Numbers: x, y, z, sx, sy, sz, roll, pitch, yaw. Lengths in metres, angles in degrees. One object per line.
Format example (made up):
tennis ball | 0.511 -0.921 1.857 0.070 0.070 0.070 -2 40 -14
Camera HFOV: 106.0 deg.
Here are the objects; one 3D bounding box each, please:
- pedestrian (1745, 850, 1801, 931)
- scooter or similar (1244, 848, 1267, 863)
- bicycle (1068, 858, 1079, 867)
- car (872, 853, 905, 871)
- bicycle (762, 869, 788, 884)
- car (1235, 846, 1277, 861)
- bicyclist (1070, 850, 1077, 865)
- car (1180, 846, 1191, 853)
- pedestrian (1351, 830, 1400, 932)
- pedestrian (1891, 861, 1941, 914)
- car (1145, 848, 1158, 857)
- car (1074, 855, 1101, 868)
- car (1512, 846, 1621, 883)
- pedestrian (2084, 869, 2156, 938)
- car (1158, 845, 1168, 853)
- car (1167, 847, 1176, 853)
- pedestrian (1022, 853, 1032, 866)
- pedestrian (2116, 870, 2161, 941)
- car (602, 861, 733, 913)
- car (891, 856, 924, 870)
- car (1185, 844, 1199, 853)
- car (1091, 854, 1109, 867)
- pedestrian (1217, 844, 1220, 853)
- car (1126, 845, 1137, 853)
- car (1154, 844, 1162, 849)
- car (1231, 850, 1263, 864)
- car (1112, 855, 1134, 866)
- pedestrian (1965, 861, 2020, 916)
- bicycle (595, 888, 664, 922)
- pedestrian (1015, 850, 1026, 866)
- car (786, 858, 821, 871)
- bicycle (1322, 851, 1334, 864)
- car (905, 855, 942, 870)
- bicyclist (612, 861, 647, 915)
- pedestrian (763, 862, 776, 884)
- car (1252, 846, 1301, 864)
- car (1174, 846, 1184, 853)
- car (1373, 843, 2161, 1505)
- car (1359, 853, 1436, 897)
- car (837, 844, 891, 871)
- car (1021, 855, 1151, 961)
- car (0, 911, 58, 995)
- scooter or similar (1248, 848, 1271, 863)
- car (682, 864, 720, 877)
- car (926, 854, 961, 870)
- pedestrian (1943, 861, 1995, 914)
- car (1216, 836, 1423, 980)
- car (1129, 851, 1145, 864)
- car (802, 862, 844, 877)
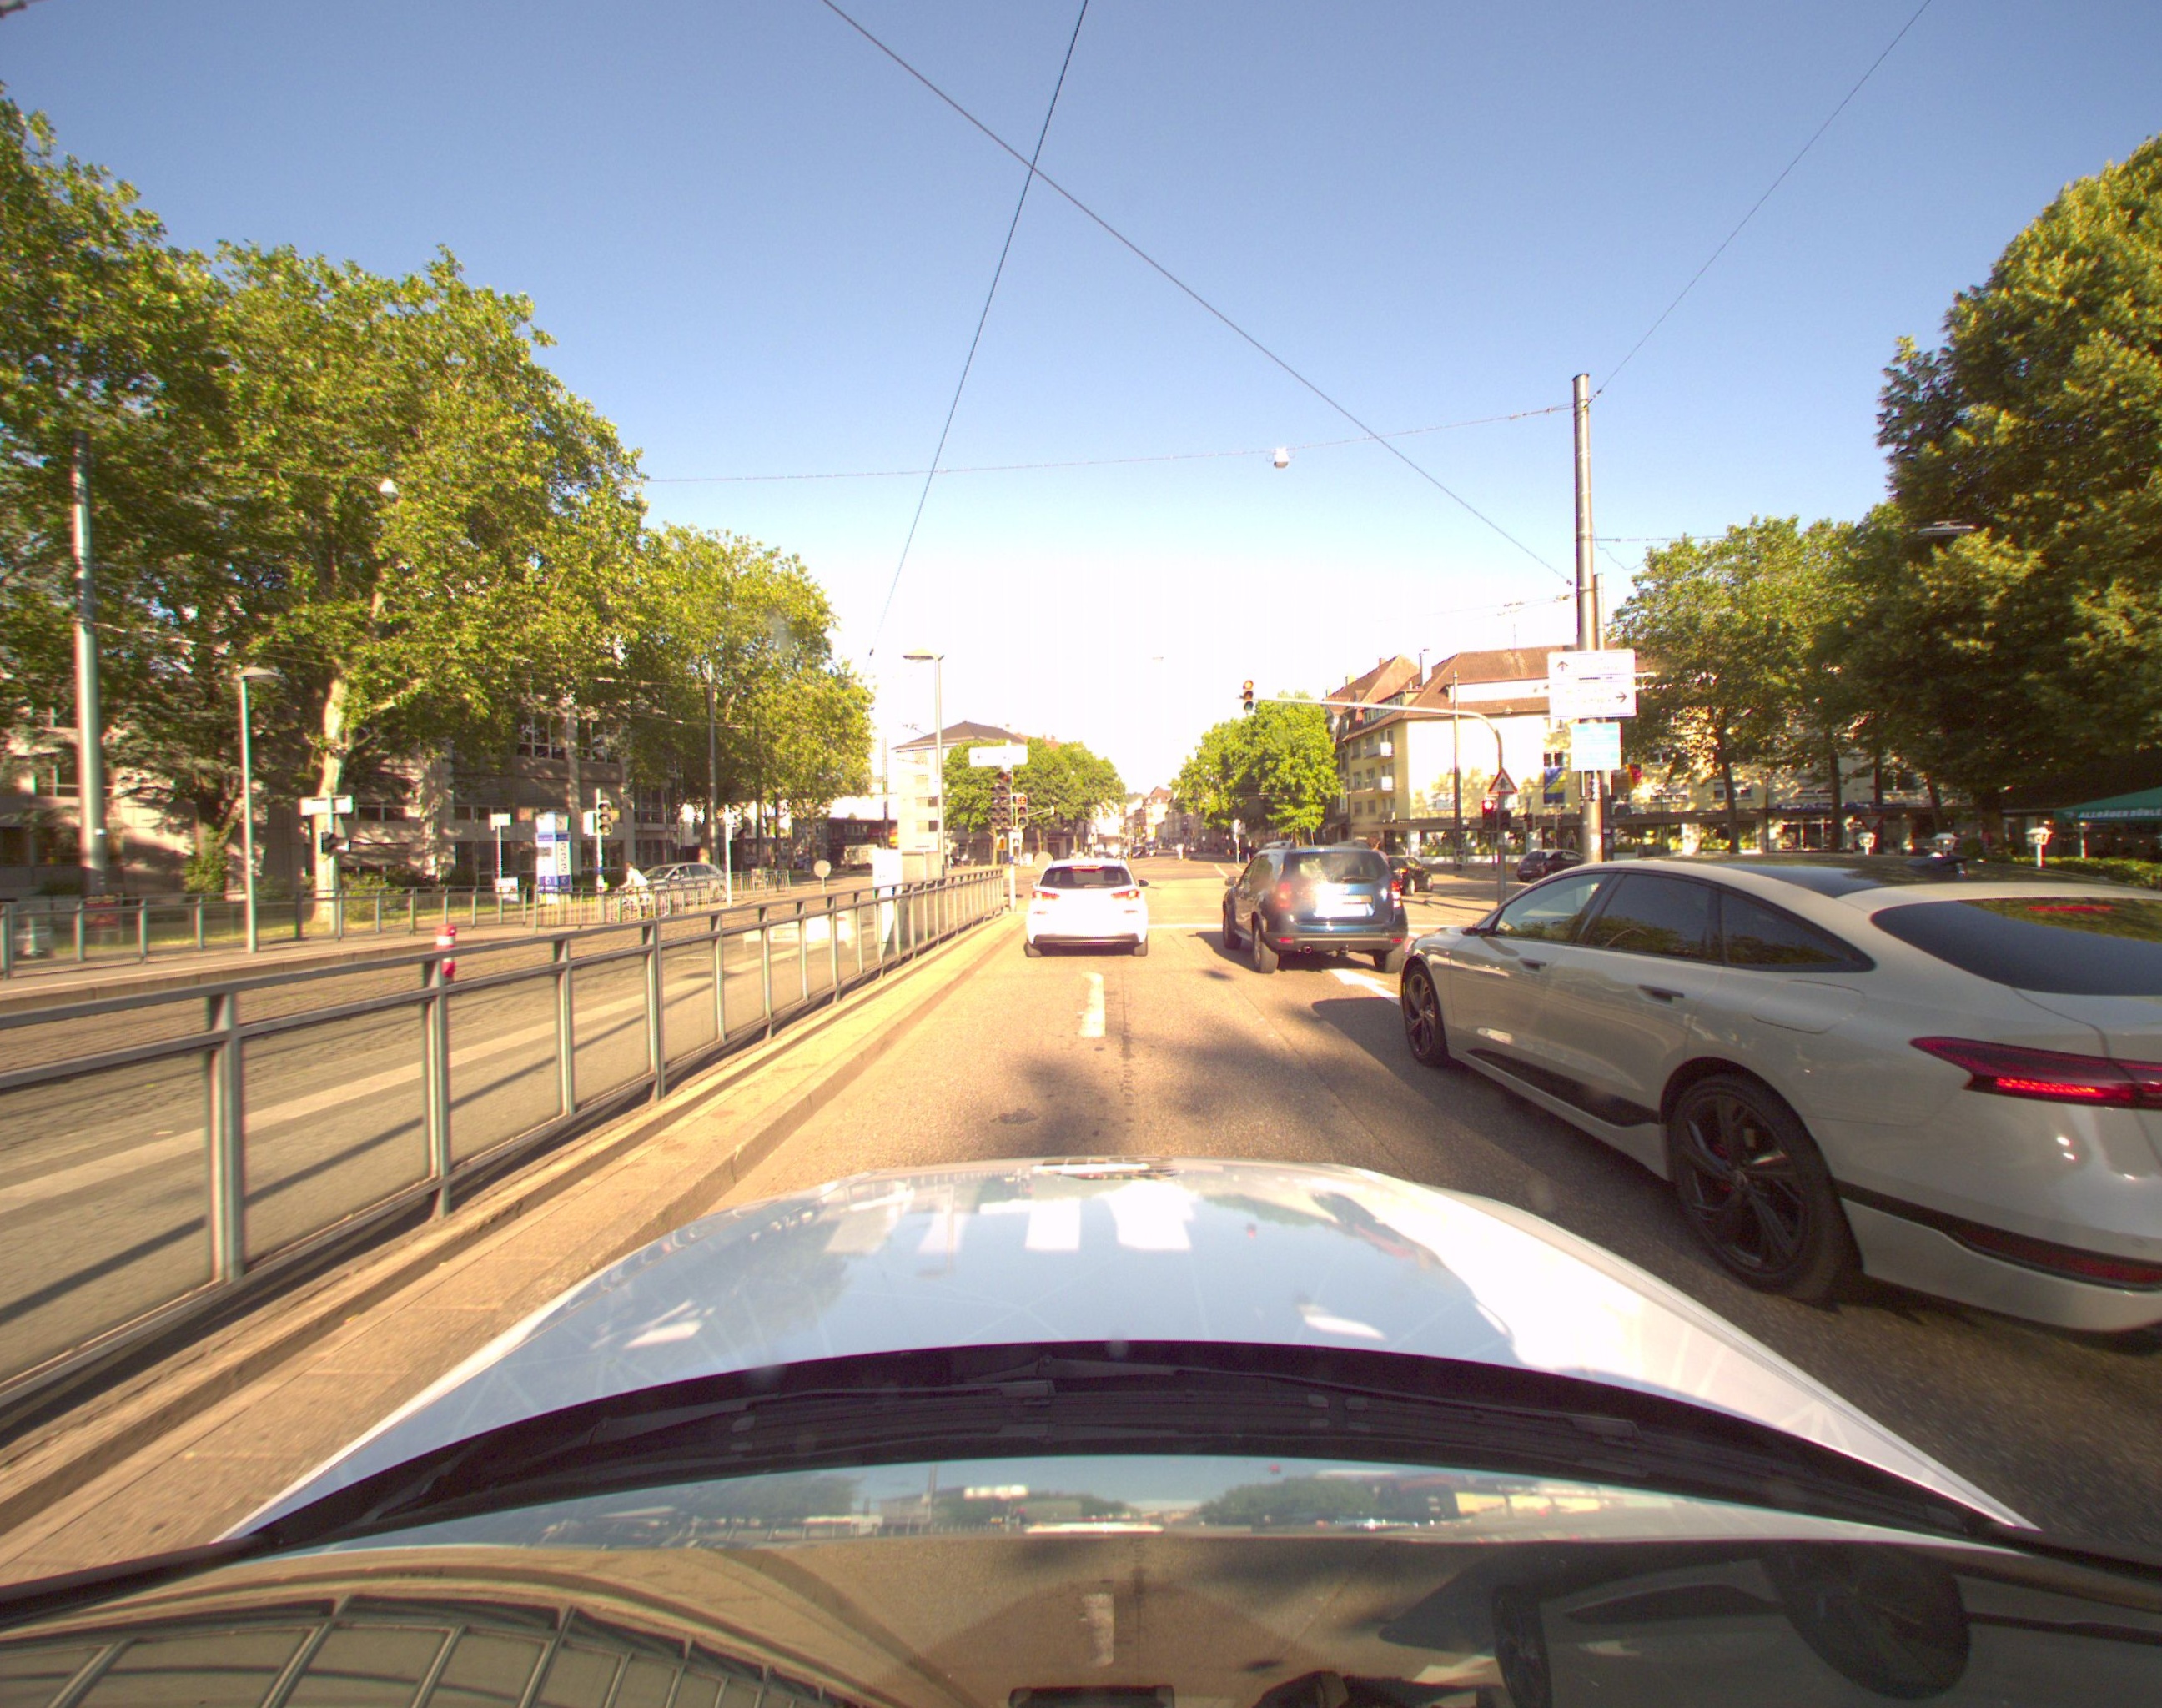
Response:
pedestrian | 13.691 0.703 16.136 0.642 1.563 0.635 1 0 21
scooter or similar | 14.771 0.130 69.007 1.926 1.280 0.557 -1 0 43
bicycle | -0.865 1.009 95.794 0.463 0.956 1.777 -1 0 25
car | -22.579 0.916 95.491 1.779 1.955 4.021 -1 0 21
bicycle | -22.963 1.679 61.133 1.786 1.107 0.501 -1 0 4
car | 18.365 -0.053 85.647 3.979 1.510 1.797 -1 0 -4
bicyclist | -0.874 0.460 95.799 0.463 1.745 0.721 -1 0 25
car | 20.952 -0.877 163.931 1.787 1.510 4.002 -1 0 2
pedestrian | 5.572 0.501 15.432 0.654 1.871 0.678 -1 0 1
pedestrian | 21.852 0.871 21.325 0.645 1.338 0.632 1 0 2
car | 11.793 -0.246 135.980 1.788 1.510 4.000 -1 0 1
car | 0.825 0.858 100.128 1.707 1.510 3.899 -2 -1 27
car | 21.531 0.423 36.160 3.989 1.510 1.793 -1 1 -11
pedestrian | 21.229 1.000 16.653 0.645 1.338 0.632 1 0 2
car | 21.642 -1.211 214.374 2.318 2.013 4.978 -1 0 2
car | 21.080 -0.930 189.346 1.787 1.522 4.002 -1 0 2
pedestrian | -6.246 0.596 94.554 0.795 1.484 0.867 -1 0 28
pedestrian | 20.746 0.994 15.740 0.645 1.338 0.632 1 0 2
car | -14.914 1.127 29.656 1.801 1.692 4.180 -1 0 18
car | -20.117 1.050 94.525 1.779 1.510 4.031 -1 0 21
car | 21.421 -1.017 157.386 2.097 1.776 4.343 -1 0 2
car | 2.434 0.844 106.082 1.784 1.510 4.010 -2 -1 9
pedestrian | 25.096 -1.015 148.609 0.643 1.651 0.652 0 -1 12
car | 9.846 -1.033 158.965 1.788 1.510 4.000 -1 0 1
car | 20.865 -2.034 219.774 1.787 1.510 4.002 -1 0 2
car | 20.328 0.352 99.560 4.021 1.510 1.779 -1 0 -40
car | 5.890 0.876 114.058 1.779 1.510 4.020 -2 -1 21
pedestrian | 22.739 0.854 20.334 0.645 1.338 0.632 1 0 2
bicycle | -12.246 1.385 22.123 1.621 0.816 0.522 -1 0 -30
pedestrian | -6.935 0.453 93.329 0.828 1.771 0.787 -1 0 27
car | -34.650 1.341 101.630 1.778 1.510 4.023 -1 0 25
bicycle | 20.879 0.279 68.870 0.606 1.107 1.803 -1 0 6
car | -17.834 0.953 92.449 1.777 1.649 4.035 -1 0 31
bicyclist | -12.255 0.900 22.127 0.805 1.414 0.522 -1 0 -30
pedestrian | -23.160 1.407 60.611 0.645 1.661 0.651 -1 0 4
car | 17.998 0.066 74.953 3.983 1.510 1.796 -1 0 -7
car | 20.488 -0.889 170.108 1.787 1.510 4.002 -1 0 2
car | 3.280 0.706 4.242 1.922 1.472 4.857 -1 0 2
car | 11.707 0.702 29.984 1.783 1.438 4.071 0 1 34
car | -25.675 0.374 96.570 2.473 3.165 6.573 -1 0 25
car | 0.116 0.757 13.354 1.801 1.452 4.001 -1 0 1
car | -16.494 1.429 10.828 2.061 1.162 2.911 0 -1 -1
scooter or similar | 15.255 0.135 69.545 1.926 1.280 0.557 -1 0 43
car | -44.477 1.944 95.363 3.952 1.510 1.810 -1 0 23
car | -15.414 0.890 91.679 1.904 1.649 4.203 -1 0 22
pedestrian | 23.152 0.865 21.240 0.645 1.338 0.632 1 0 2
car | 3.090 0.622 11.425 1.793 1.638 4.046 -1 0 1
car | 8.422 0.482 121.435 1.782 1.826 4.014 -1 0 12
car | -27.518 1.635 86.794 3.952 1.510 1.810 -1 0 23
